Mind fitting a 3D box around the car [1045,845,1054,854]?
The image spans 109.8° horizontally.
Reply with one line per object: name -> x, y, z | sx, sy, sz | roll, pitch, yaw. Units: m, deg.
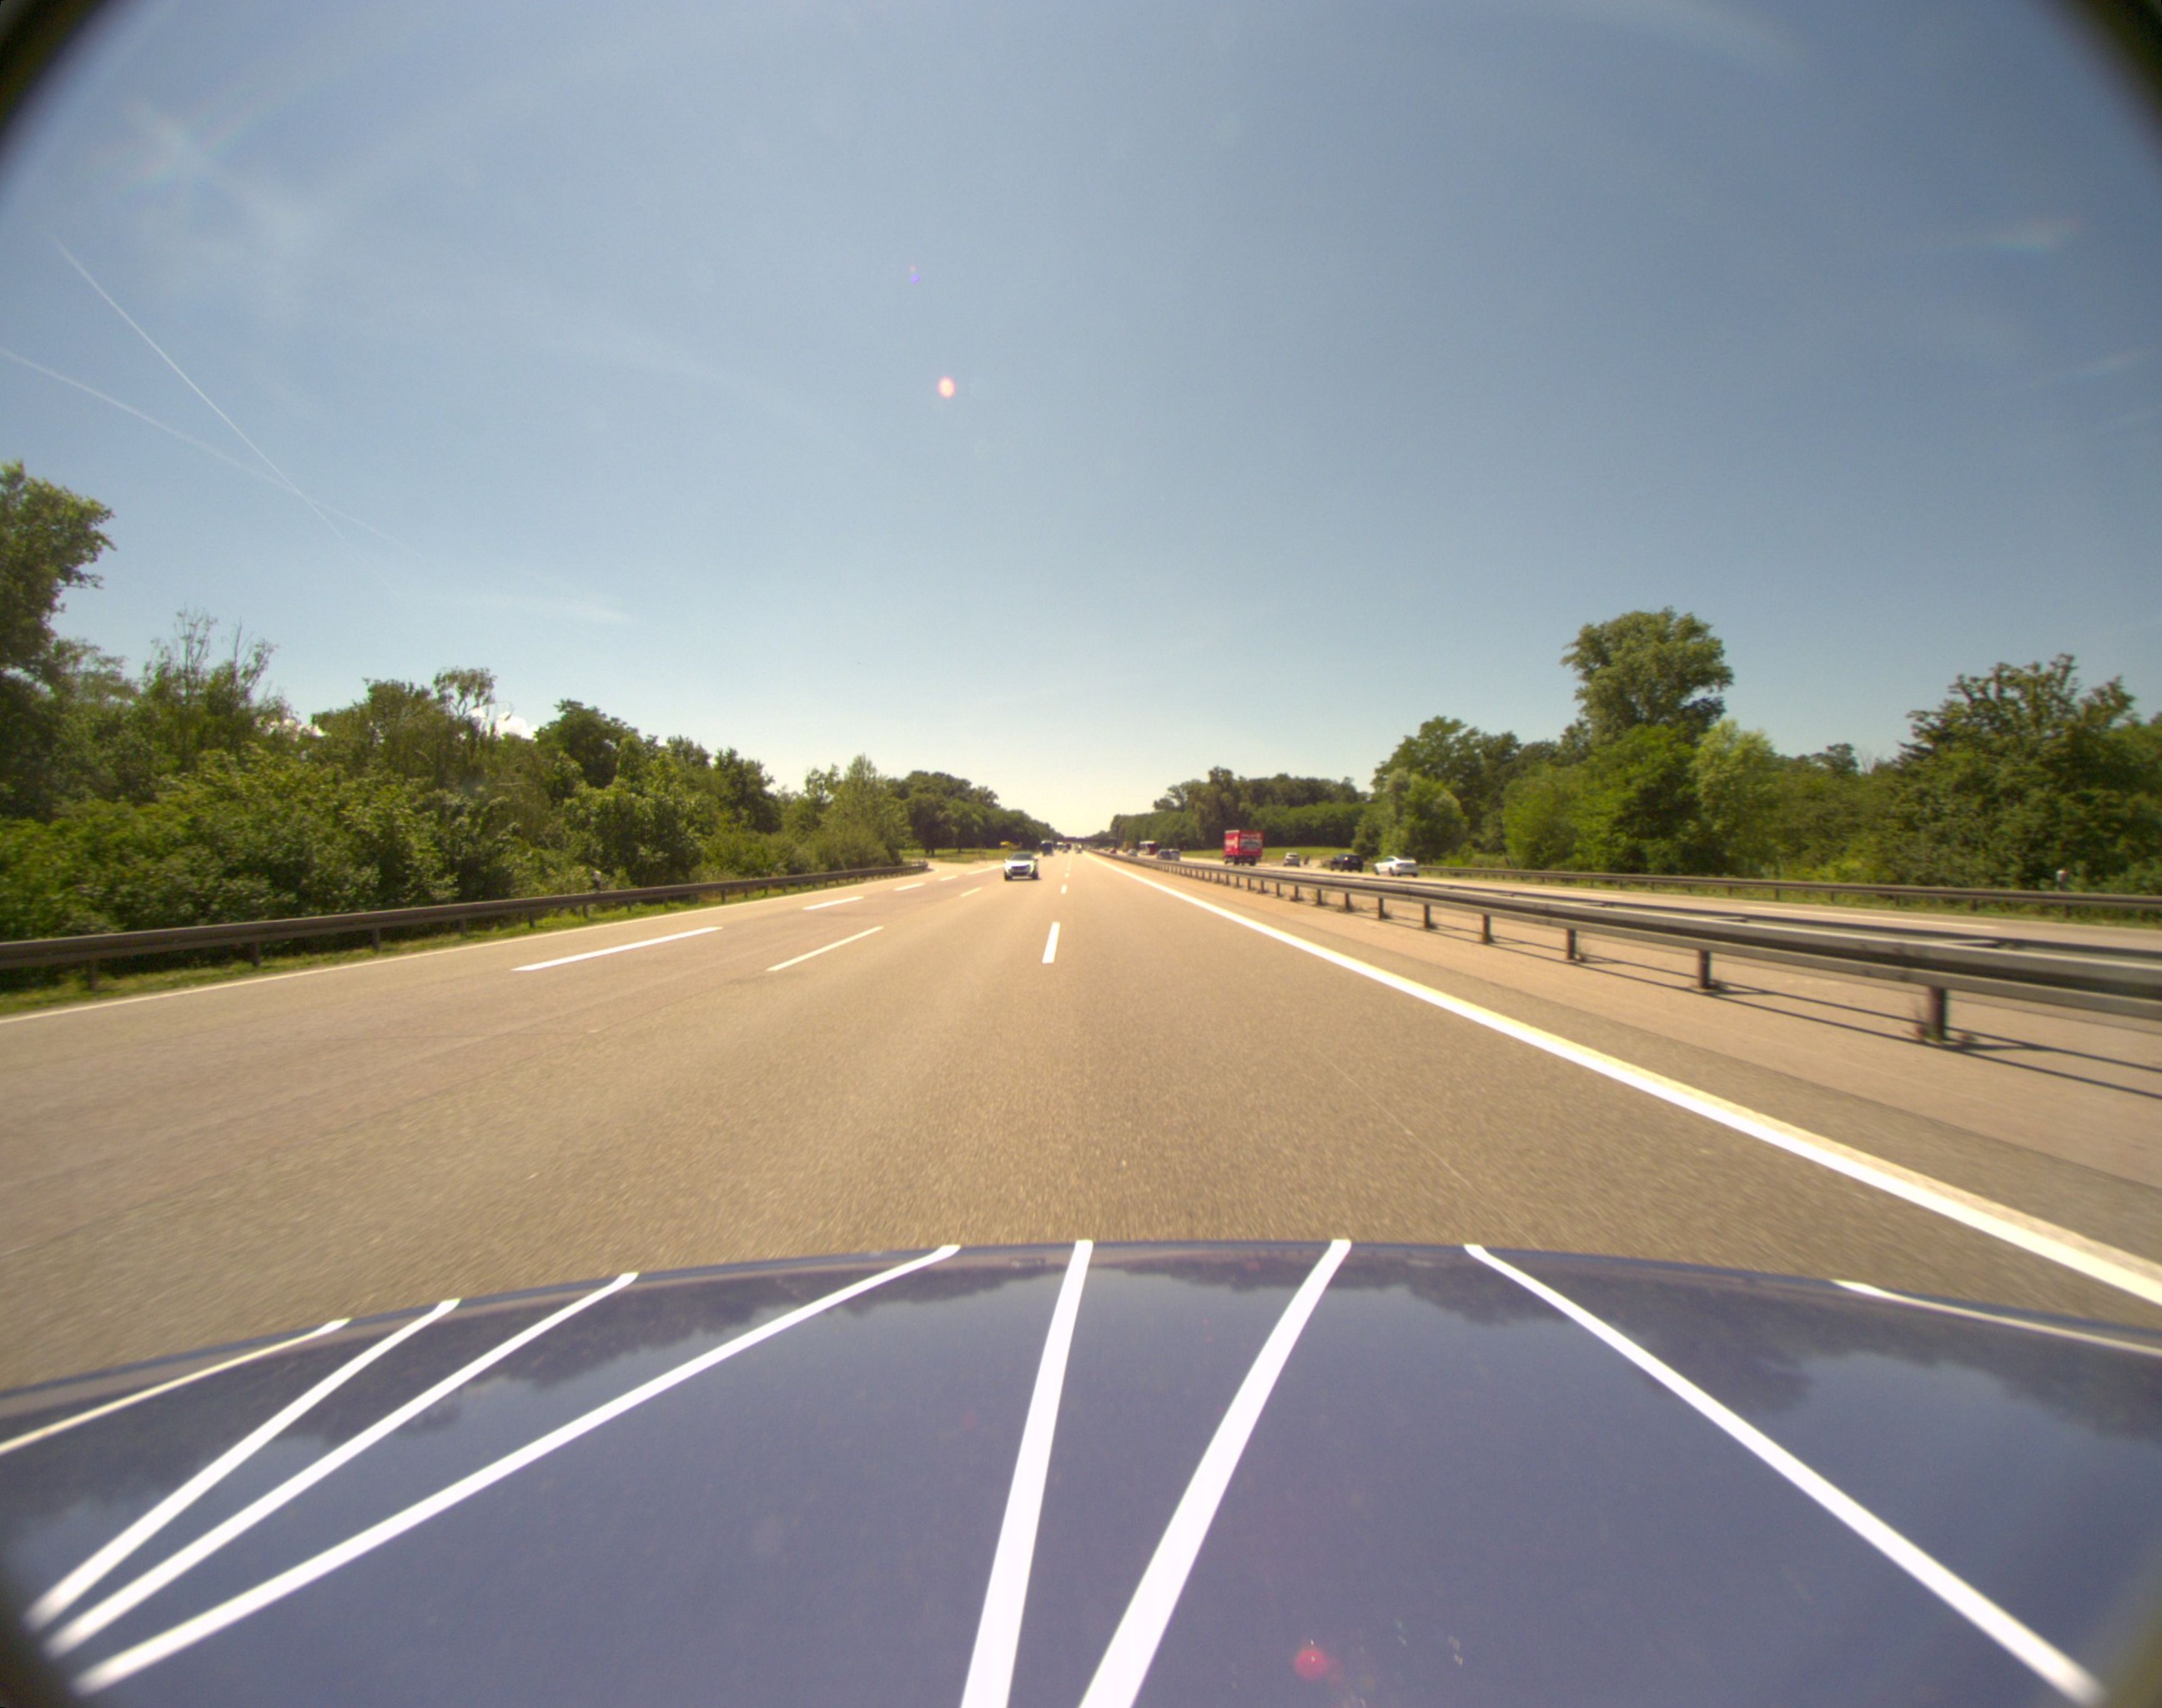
car -> -7.559, -1.038, 183.013 | 2.301, 2.002, 4.794 | 0, 1, -2

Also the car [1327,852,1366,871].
car -> 22.772, 0.618, 65.326 | 1.998, 1.569, 4.267 | 0, 1, 2

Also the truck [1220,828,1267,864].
truck -> 17.864, -0.901, 84.181 | 3.072, 3.705, 9.804 | 1, 1, 0

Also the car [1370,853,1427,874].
car -> 22.586, 0.651, 54.300 | 1.998, 1.404, 4.972 | 0, 1, 0

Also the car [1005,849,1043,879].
car -> -3.208, 0.554, 43.684 | 1.845, 1.565, 3.999 | -1, 1, 0

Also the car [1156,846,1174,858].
car -> 11.057, -0.270, 100.017 | 1.901, 1.497, 4.116 | 0, 1, -1

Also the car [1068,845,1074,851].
car -> -3.065, -1.807, 233.941 | 1.840, 2.002, 3.999 | 0, 1, 0

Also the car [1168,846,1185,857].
car -> 14.420, -0.336, 114.660 | 1.998, 1.617, 4.543 | 1, 1, 0

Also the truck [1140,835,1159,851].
truck -> 17.376, -2.786, 194.003 | 3.091, 3.853, 17.542 | 0, 1, -1

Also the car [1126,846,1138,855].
car -> 9.652, -0.693, 144.566 | 1.998, 1.543, 5.223 | -1, 1, 0

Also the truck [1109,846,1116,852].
truck -> 8.691, -1.429, 207.589 | 1.835, 1.554, 4.309 | 0, 1, 1

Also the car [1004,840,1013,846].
car -> -24.004, -3.681, 252.750 | 2.562, 2.002, 6.762 | 0, 1, -2

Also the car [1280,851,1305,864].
car -> 24.989, 0.393, 90.063 | 1.997, 1.501, 4.722 | 2, 1, 5

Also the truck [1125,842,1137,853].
truck -> 17.385, -2.325, 263.981 | 3.091, 3.854, 15.618 | -2, 1, 0
